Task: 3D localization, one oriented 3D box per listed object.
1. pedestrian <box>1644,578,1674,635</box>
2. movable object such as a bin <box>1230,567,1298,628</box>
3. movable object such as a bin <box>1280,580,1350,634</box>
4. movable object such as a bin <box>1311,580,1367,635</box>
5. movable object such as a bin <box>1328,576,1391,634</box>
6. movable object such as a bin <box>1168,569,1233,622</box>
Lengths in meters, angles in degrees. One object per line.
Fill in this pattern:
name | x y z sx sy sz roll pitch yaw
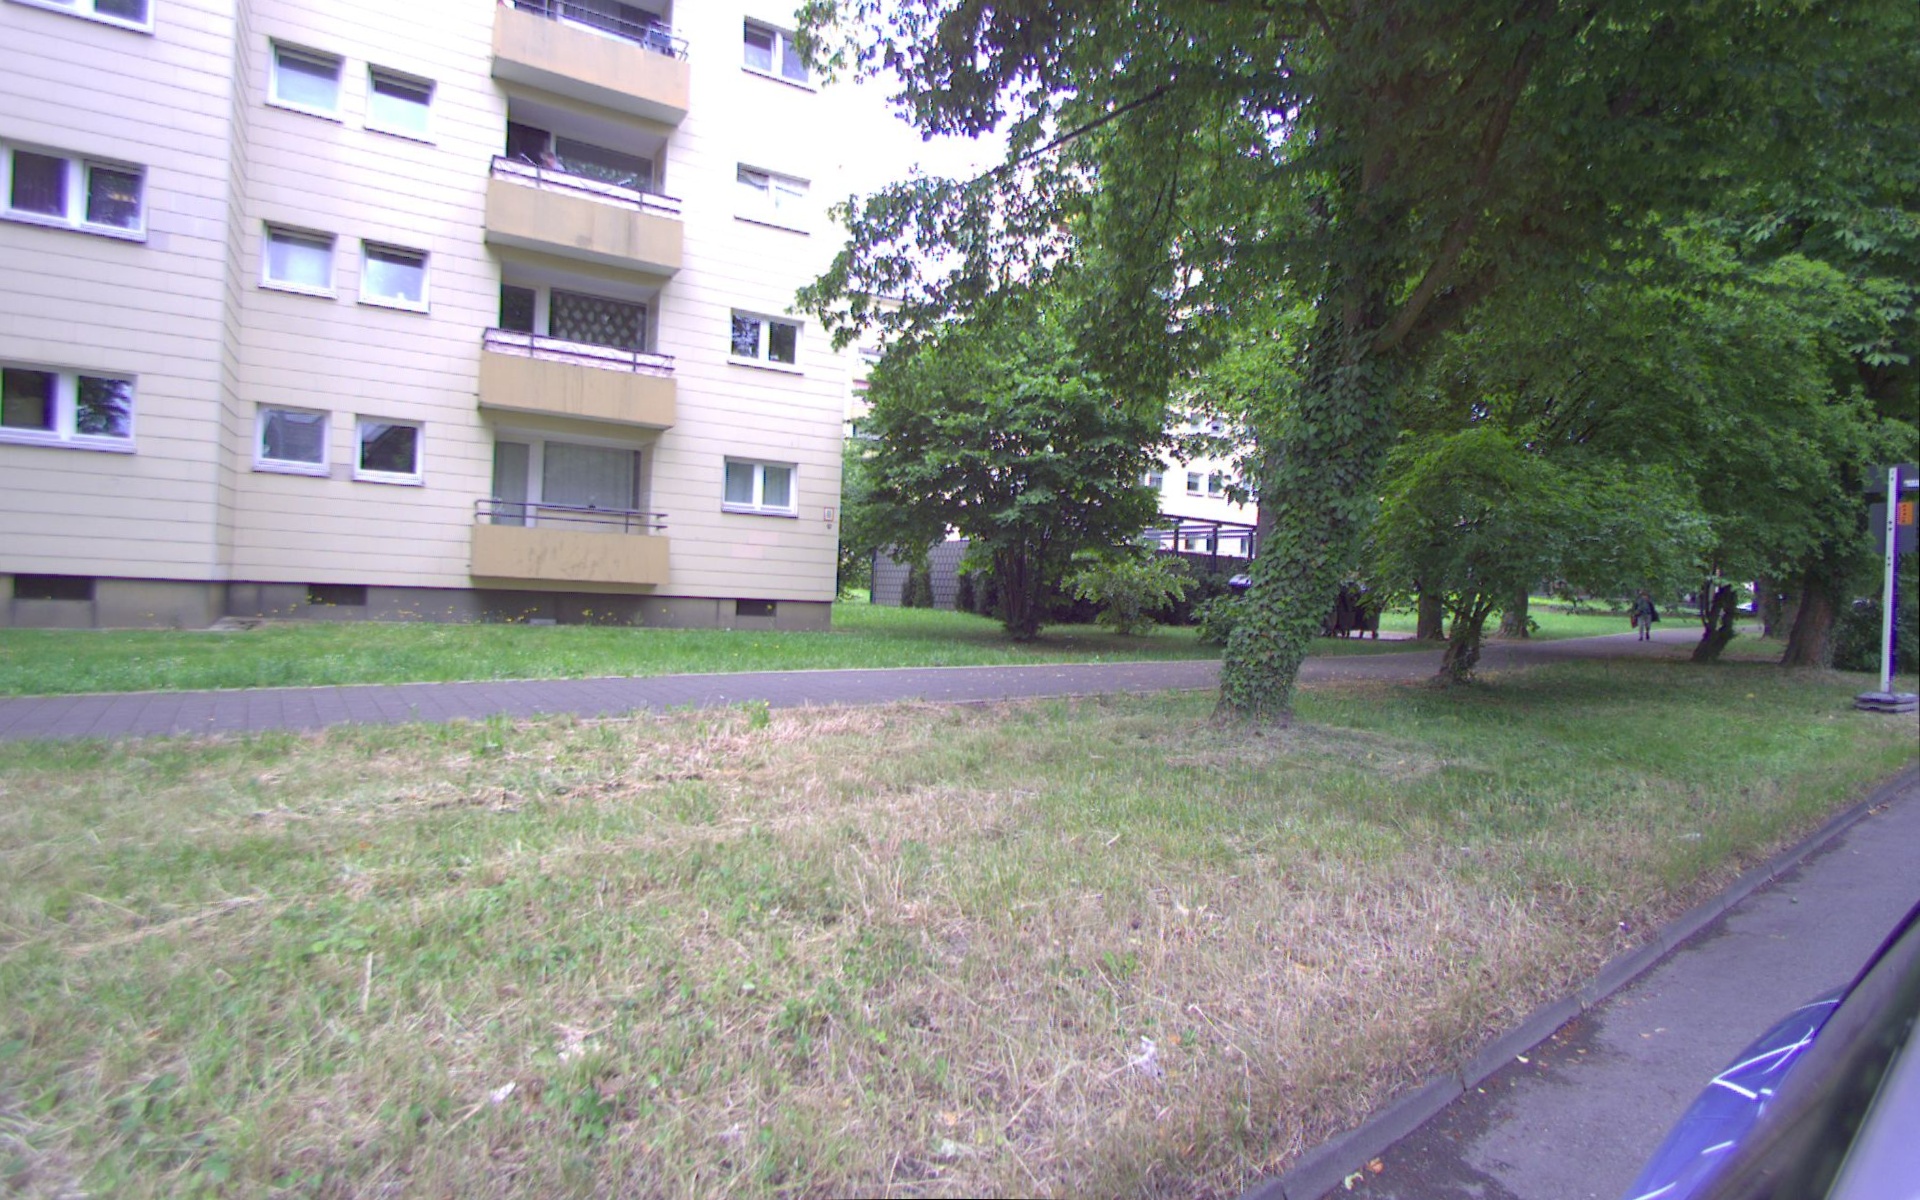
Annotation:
pedestrian | 21.906 0.197 31.702 0.560 1.761 0.565 1 2 -42
movable object such as a bin | 7.737 -0.068 25.758 1.190 1.475 1.329 3 2 41
movable object such as a bin | 8.729 0.151 24.890 1.190 1.236 1.329 3 2 41
movable object such as a bin | 9.614 0.171 25.668 1.022 1.320 0.946 3 2 41
movable object such as a bin | 10.412 0.109 26.389 1.190 1.431 1.095 3 2 41
movable object such as a bin | 6.469 -0.132 27.225 1.190 1.358 1.329 3 2 41
